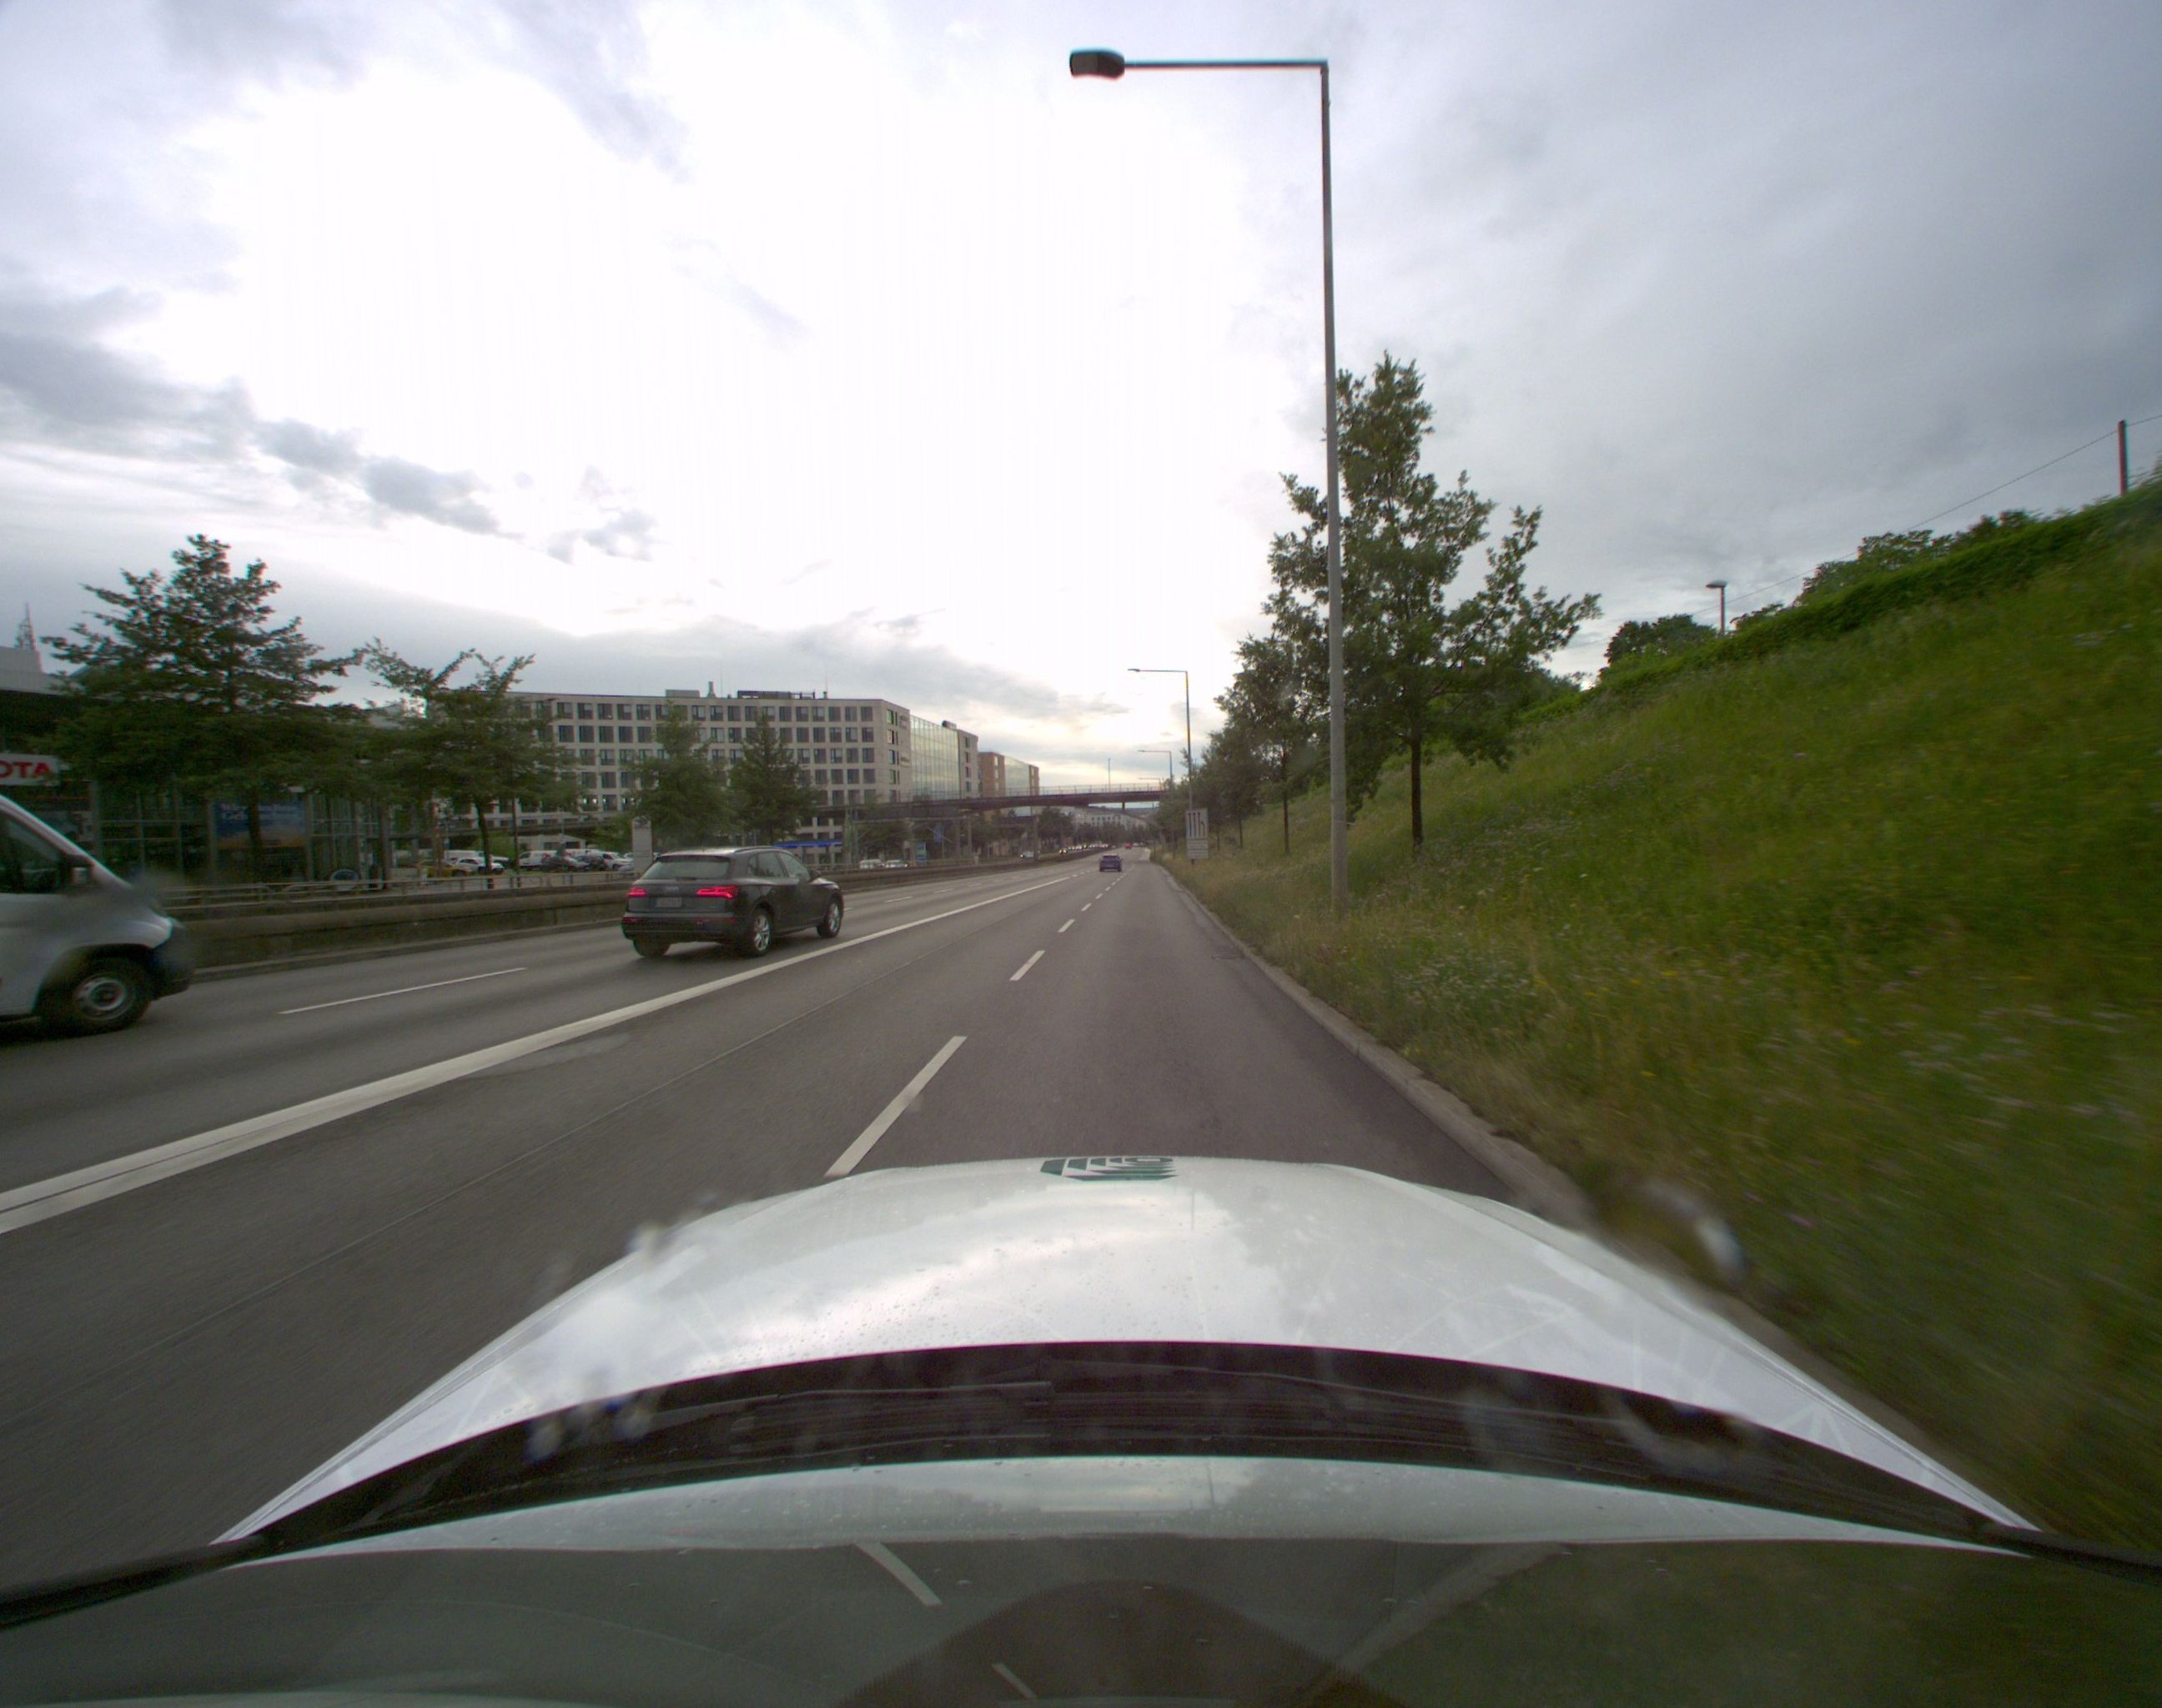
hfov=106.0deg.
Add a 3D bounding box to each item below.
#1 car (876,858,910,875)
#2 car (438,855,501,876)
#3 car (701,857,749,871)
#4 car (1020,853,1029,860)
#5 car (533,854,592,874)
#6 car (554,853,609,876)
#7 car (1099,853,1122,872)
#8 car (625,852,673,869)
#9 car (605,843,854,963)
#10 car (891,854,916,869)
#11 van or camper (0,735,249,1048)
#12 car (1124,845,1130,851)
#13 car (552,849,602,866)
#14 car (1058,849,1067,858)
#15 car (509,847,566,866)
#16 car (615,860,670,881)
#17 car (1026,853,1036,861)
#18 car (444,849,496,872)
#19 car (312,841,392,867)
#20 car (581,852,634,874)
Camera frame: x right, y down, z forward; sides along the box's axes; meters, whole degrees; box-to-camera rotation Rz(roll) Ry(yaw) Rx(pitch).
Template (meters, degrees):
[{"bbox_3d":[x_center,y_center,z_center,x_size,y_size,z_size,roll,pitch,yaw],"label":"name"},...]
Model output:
[{"bbox_3d":[-19.395,1.304,84.001,1.982,1.585,4.010,-3,0,9],"label":"car"},{"bbox_3d":[-51.380,0.935,68.441,3.963,1.650,2.006,1,3,9],"label":"car"},{"bbox_3d":[-35.926,0.964,82.184,3.966,1.354,1.853,0,0,6],"label":"car"},{"bbox_3d":[-12.110,0.503,174.138,1.511,1.420,3.483,-1,1,4],"label":"car"},{"bbox_3d":[-46.357,0.886,72.910,3.971,1.650,2.002,0,3,2],"label":"car"},{"bbox_3d":[-46.313,0.953,75.597,3.963,2.013,2.005,-1,0,9],"label":"car"},{"bbox_3d":[2.458,0.682,67.791,1.741,1.420,3.482,-2,0,4],"label":"car"},{"bbox_3d":[-45.553,0.624,85.897,3.963,1.650,2.006,1,3,9],"label":"car"},{"bbox_3d":[-5.467,0.682,13.484,1.743,1.617,4.754,-1,0,4],"label":"car"},{"bbox_3d":[-22.112,0.946,101.690,1.985,1.777,4.106,0,0,3],"label":"car"},{"bbox_3d":[-9.611,0.326,5.403,2.193,2.439,5.538,-2,0,4],"label":"van or camper"},{"bbox_3d":[14.268,-1.964,252.861,1.856,1.749,4.002,0,3,1],"label":"car"},{"bbox_3d":[-51.623,0.342,83.416,3.973,1.650,1.822,0,3,1],"label":"car"},{"bbox_3d":[-4.854,-0.116,209.218,1.985,2.013,4.005,0,3,3],"label":"car"},{"bbox_3d":[-51.265,0.224,76.829,3.971,1.650,2.002,0,3,2],"label":"car"},{"bbox_3d":[-37.465,1.402,69.691,4.007,1.651,1.983,0,1,-26],"label":"car"},{"bbox_3d":[-10.039,0.604,162.709,1.511,1.420,3.483,-1,1,4],"label":"car"},{"bbox_3d":[-60.776,0.652,81.105,4.016,2.048,1.980,-2,3,-34],"label":"car"},{"bbox_3d":[-50.635,-0.027,56.689,4.021,1.650,1.977,-2,3,-40],"label":"car"},{"bbox_3d":[-45.246,0.849,77.914,3.963,1.875,2.006,1,3,9],"label":"car"}]
